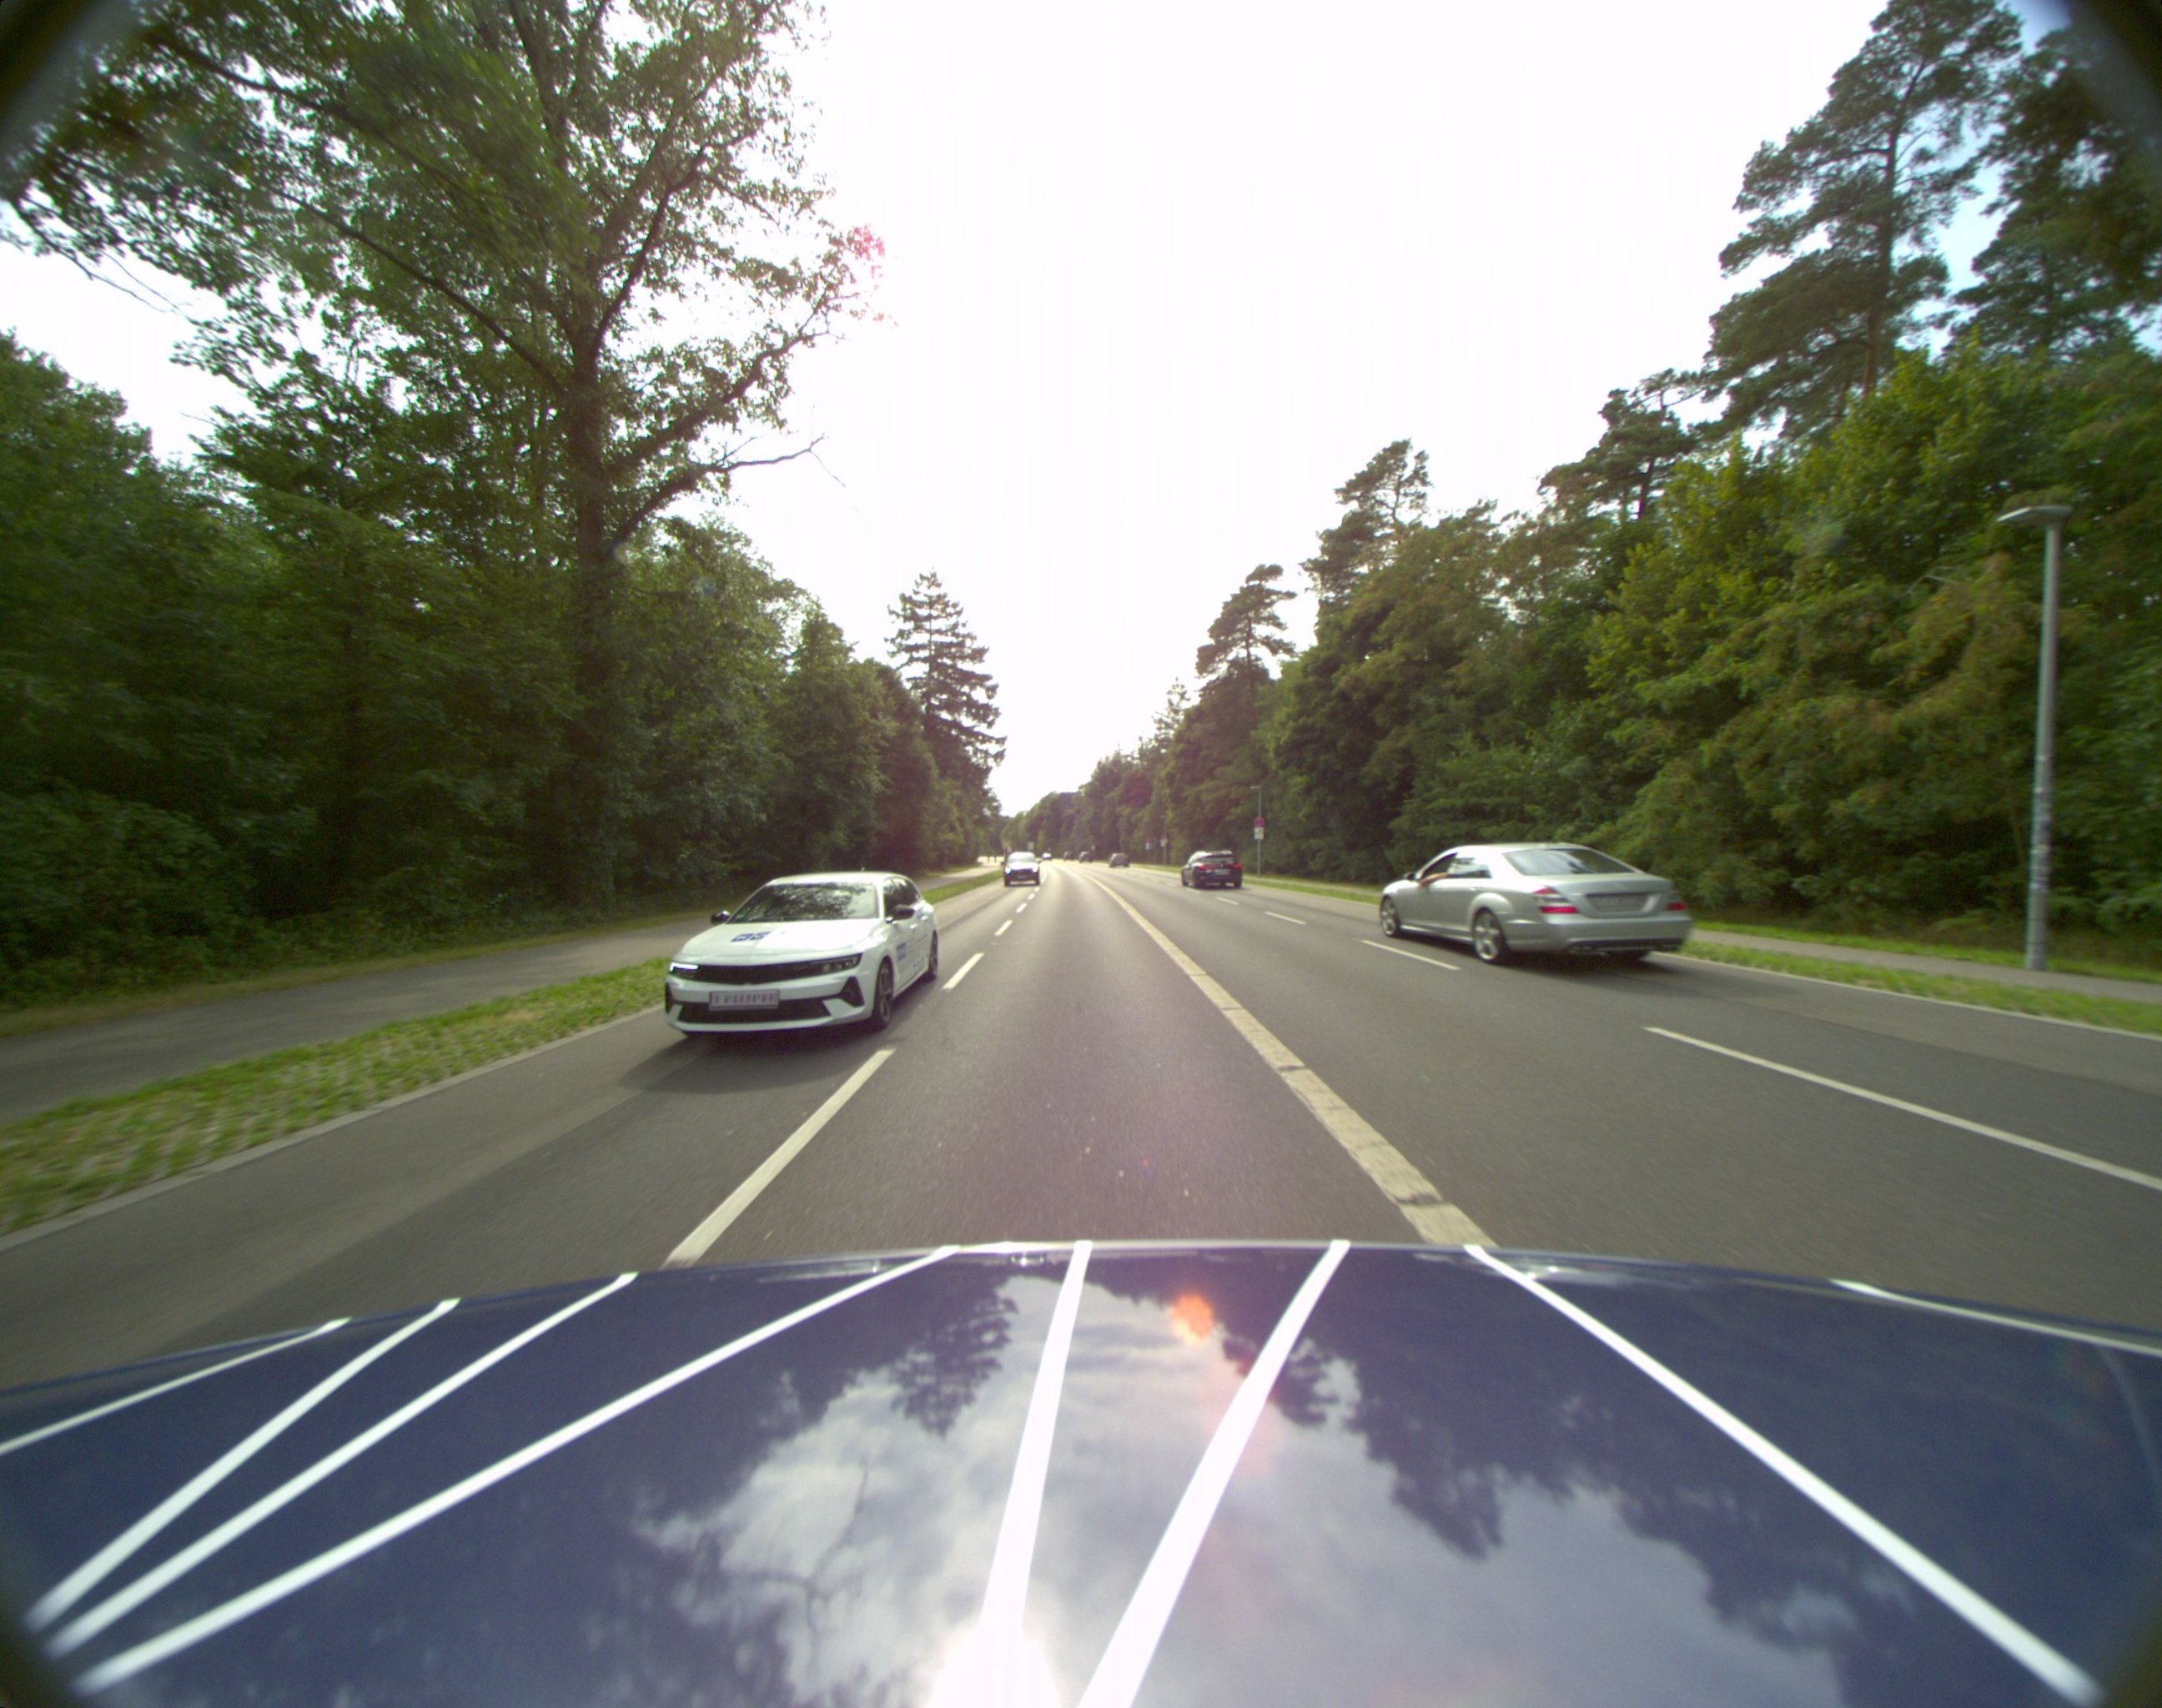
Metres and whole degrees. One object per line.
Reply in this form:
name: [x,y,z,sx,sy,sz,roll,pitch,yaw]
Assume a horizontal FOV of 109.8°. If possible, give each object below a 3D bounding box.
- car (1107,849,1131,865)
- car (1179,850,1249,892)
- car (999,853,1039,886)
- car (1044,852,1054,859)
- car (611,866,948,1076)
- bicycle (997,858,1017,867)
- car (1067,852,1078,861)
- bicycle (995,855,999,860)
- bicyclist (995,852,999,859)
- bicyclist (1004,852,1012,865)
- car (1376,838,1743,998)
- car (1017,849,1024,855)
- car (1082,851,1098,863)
car: [3.853,0.276,78.164,1.902,1.475,4.535,-2,2,-3]
car: [5.288,0.621,30.810,1.886,1.434,4.402,-3,1,-1]
car: [-3.243,0.778,40.034,1.999,1.565,3.998,-1,1,-4]
car: [-6.684,0.341,160.332,1.999,1.427,4.719,-2,1,-2]
car: [-2.721,0.942,8.133,1.841,1.402,4.489,-3,1,-1]
bicycle: [-8.424,0.932,86.692,2.180,0.988,0.711,-1,1,-4]
car: [-1.675,0.407,147.688,1.928,1.646,4.467,-2,1,-3]
bicycle: [-16.592,0.755,150.616,0.568,0.906,1.752,1,0,-15]
bicyclist: [-16.611,0.244,150.595,0.522,1.407,1.185,-1,1,-15]
bicyclist: [-8.315,0.499,86.706,0.901,1.462,0.711,-1,1,-4]
car: [5.859,0.620,10.177,1.998,1.554,4.603,-3,1,1]
car: [-20.437,-0.690,256.237,1.999,1.781,4.745,-3,1,-4]
car: [1.353,0.475,118.919,1.999,1.607,4.661,-6,1,-4]
